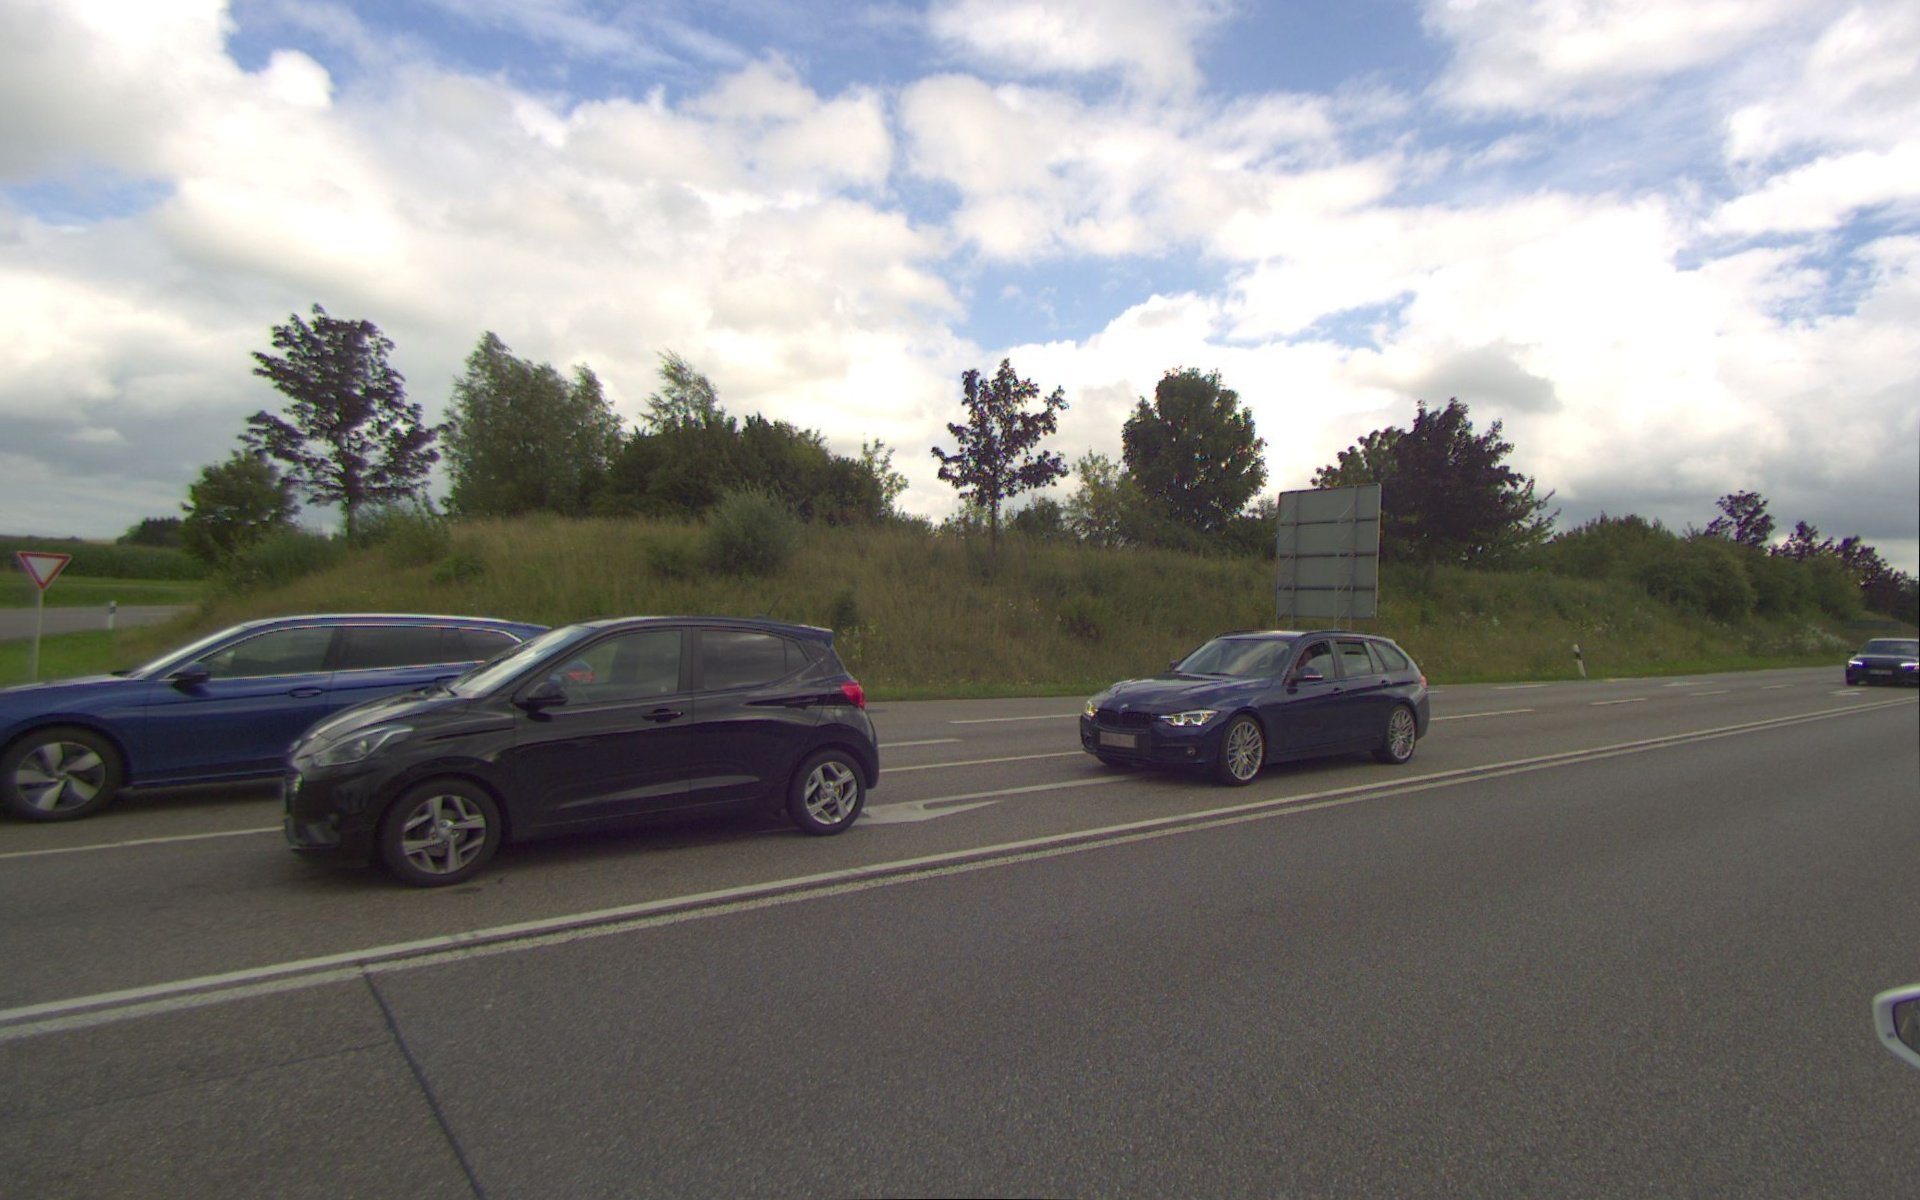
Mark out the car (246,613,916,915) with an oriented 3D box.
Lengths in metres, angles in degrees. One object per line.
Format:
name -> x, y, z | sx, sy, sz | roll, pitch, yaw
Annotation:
car -> -2.394, 0.852, 6.764 | 3.906, 1.462, 1.714 | 1, -1, -36

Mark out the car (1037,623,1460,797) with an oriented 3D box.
car -> 3.304, 1.028, 11.004 | 4.838, 1.503, 2.033 | 2, -2, -38

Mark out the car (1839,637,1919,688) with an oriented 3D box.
car -> 28.659, 1.866, 30.862 | 4.505, 1.401, 1.751 | 2, -1, -39

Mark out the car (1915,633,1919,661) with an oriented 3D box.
car -> 55.136, 2.640, 56.149 | 4.951, 1.514, 1.977 | 2, -1, -40

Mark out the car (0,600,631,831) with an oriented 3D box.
car -> -5.725, 0.828, 8.719 | 5.082, 1.555, 2.029 | 2, -1, -39
